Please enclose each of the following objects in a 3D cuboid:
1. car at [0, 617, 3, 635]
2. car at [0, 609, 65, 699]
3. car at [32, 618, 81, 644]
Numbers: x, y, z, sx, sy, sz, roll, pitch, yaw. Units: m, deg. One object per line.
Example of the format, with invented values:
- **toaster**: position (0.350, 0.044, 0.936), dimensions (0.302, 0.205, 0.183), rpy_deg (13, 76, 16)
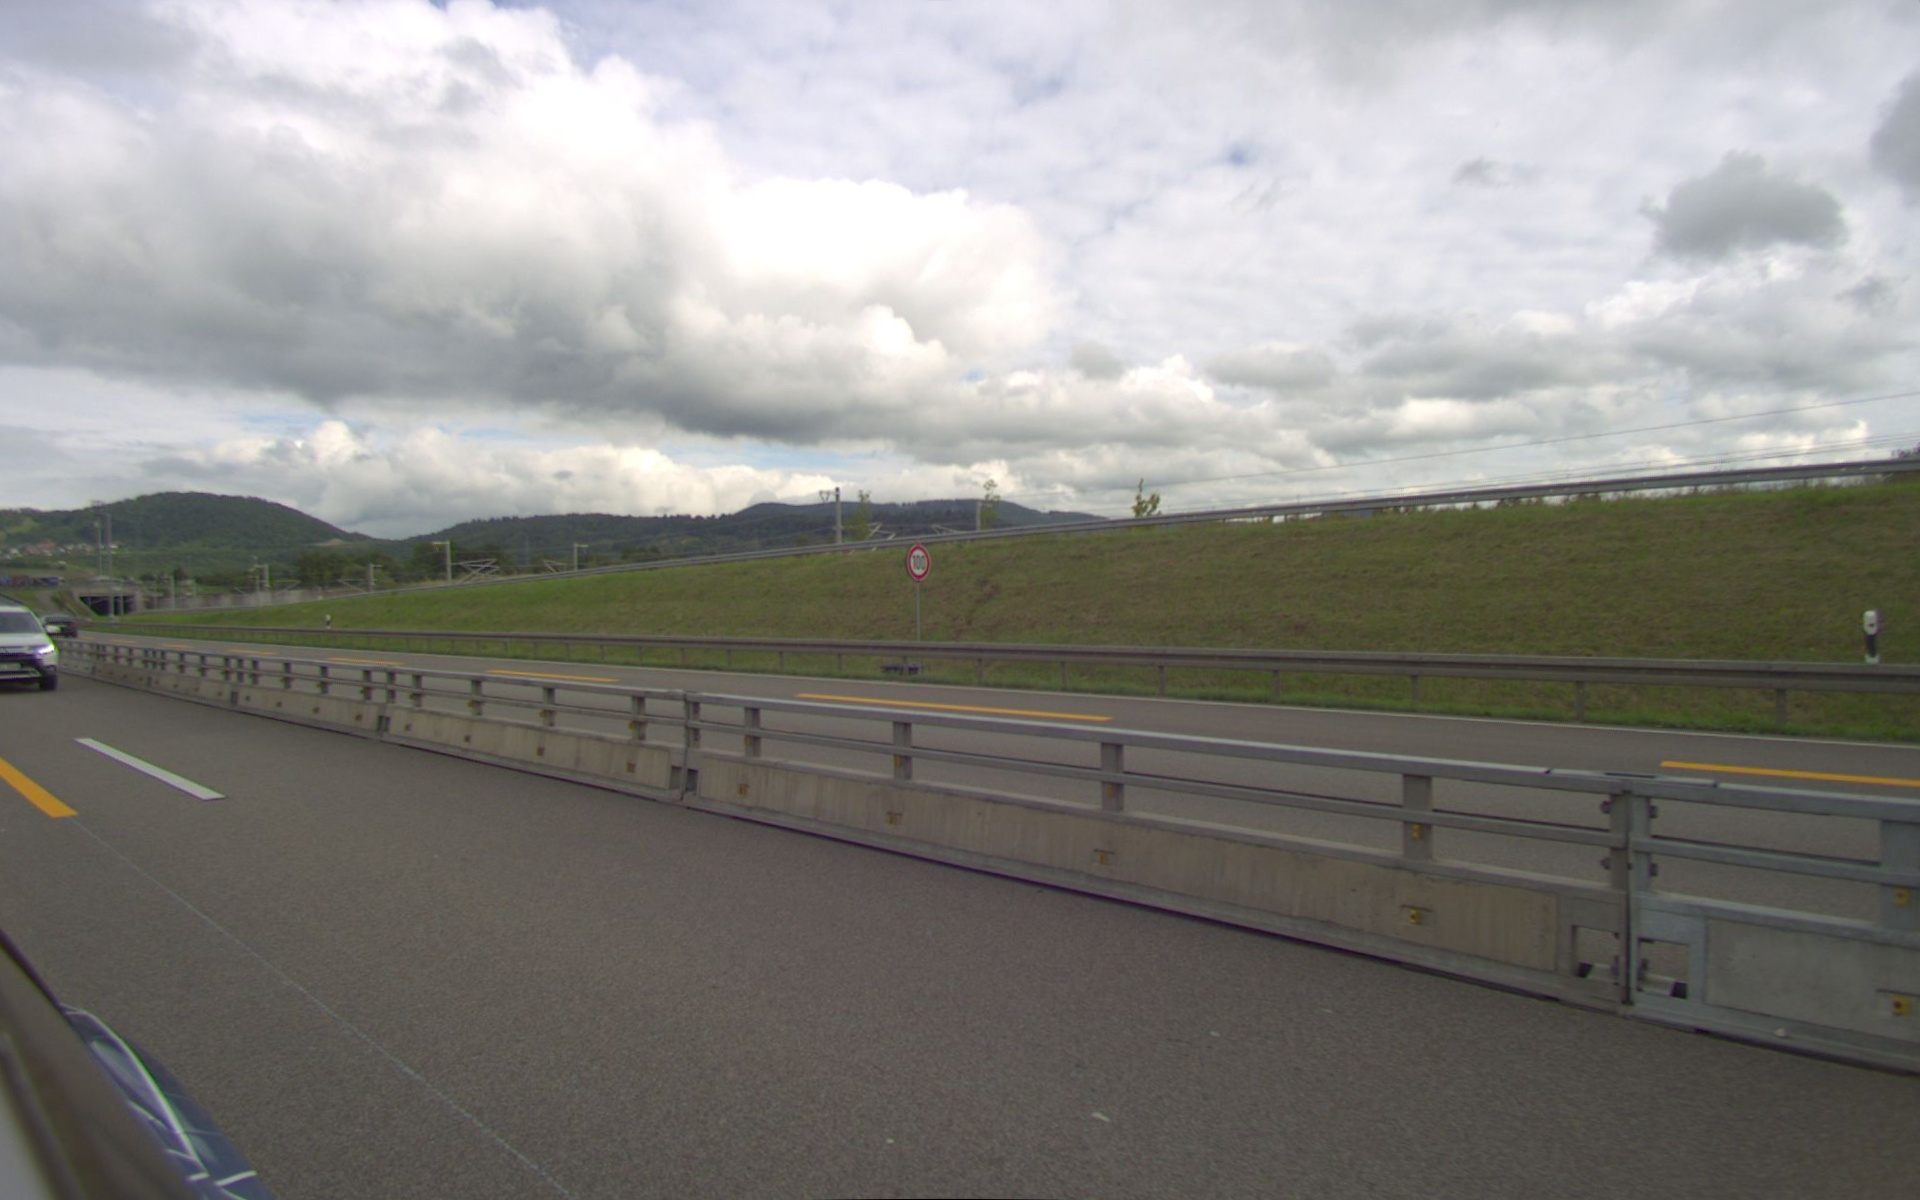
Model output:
- **car**: position (-80.652, 2.164, 83.657), dimensions (4.180, 1.537, 1.870), rpy_deg (-1, -1, 41)
- **car**: position (-19.136, 1.024, 19.778), dimensions (4.606, 1.640, 1.972), rpy_deg (-2, -2, 42)
- **car**: position (-55.442, 1.883, 62.060), dimensions (4.134, 1.528, 1.769), rpy_deg (-1, -1, 42)
